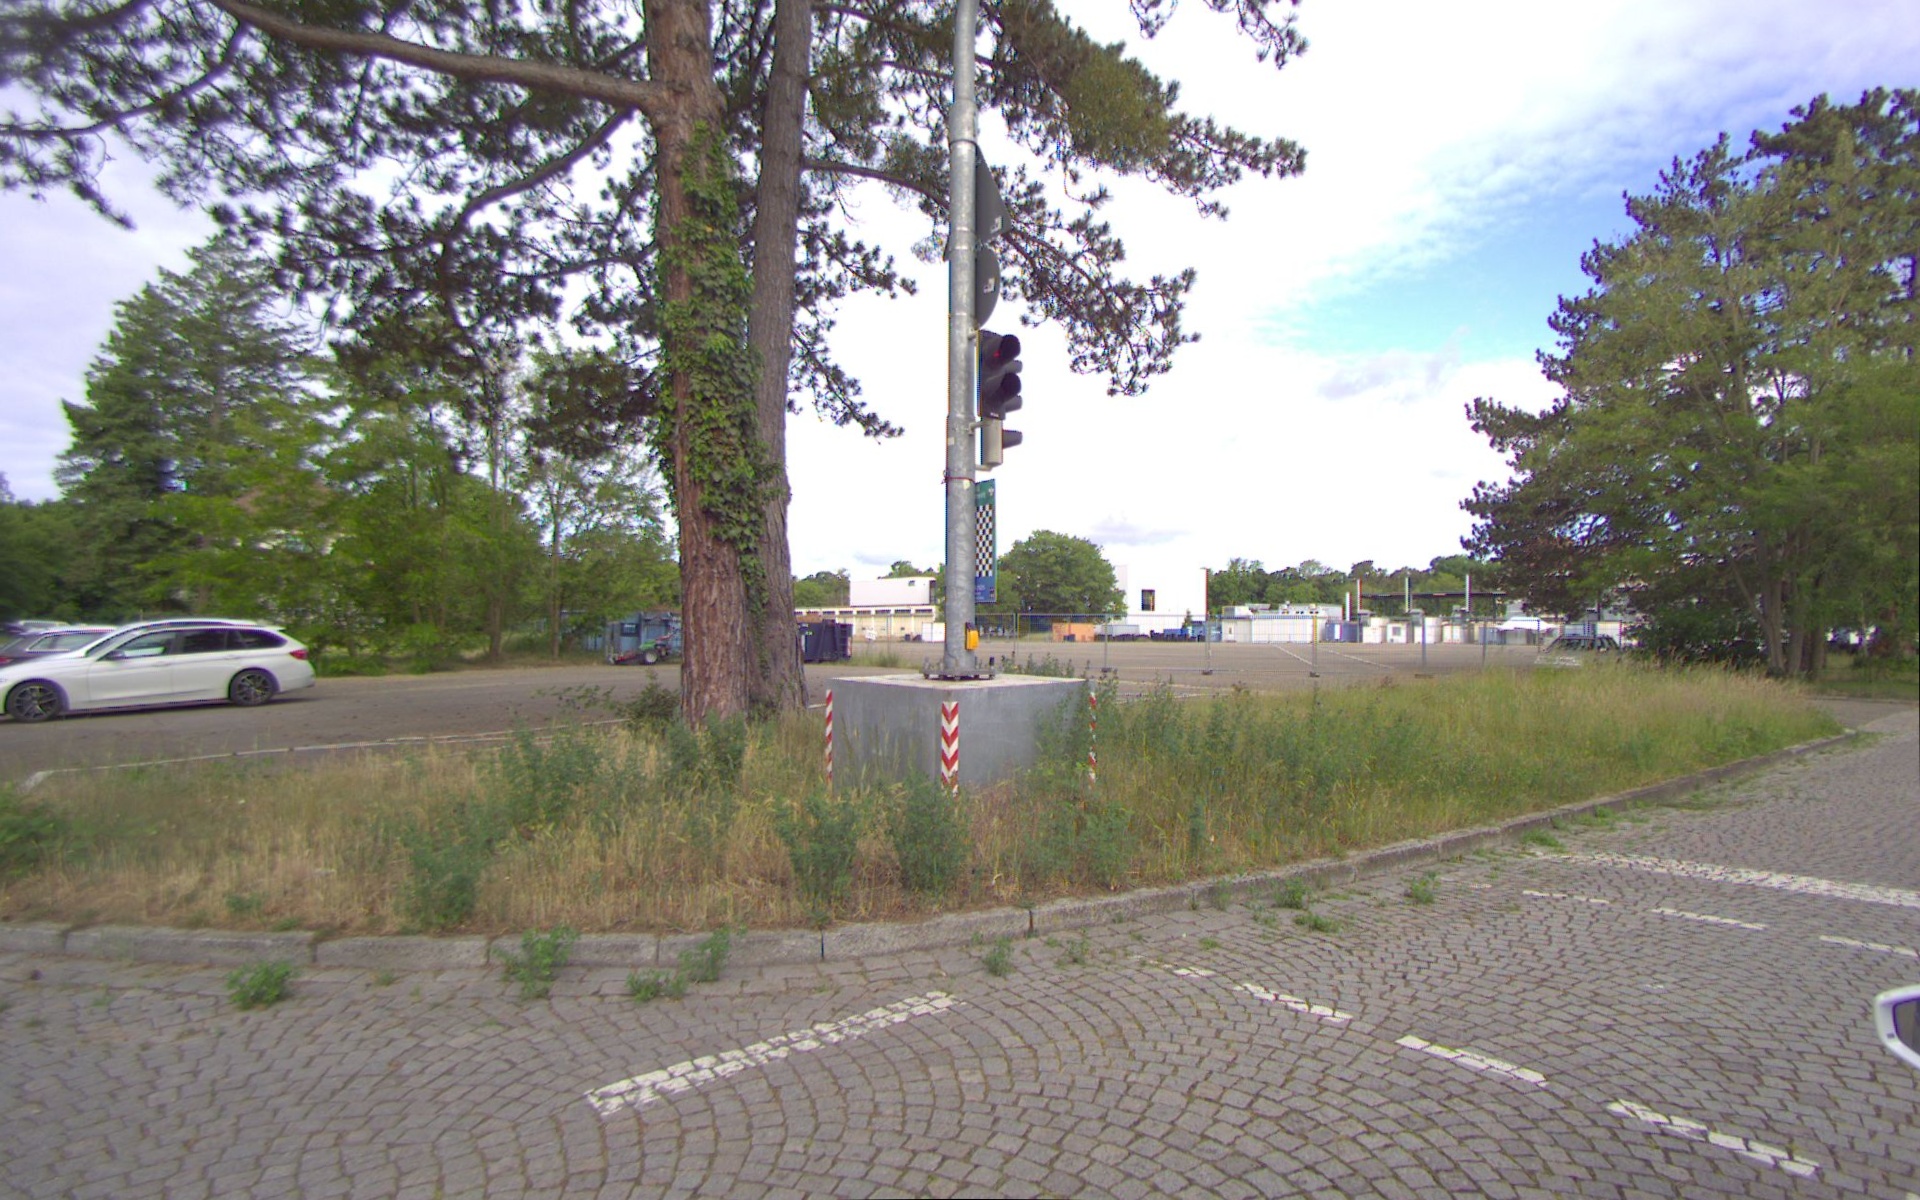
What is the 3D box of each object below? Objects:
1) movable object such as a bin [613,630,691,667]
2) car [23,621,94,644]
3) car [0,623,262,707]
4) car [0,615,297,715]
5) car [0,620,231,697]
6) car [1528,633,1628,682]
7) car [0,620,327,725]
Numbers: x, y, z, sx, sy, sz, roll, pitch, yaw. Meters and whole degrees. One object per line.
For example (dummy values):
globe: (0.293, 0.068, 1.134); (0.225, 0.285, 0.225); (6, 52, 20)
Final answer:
movable object such as a bin: (-9.916, 1.550, 32.367); (2.251, 1.140, 0.848); (3, -2, -41)
car: (-89.930, 3.263, 100.270); (5.115, 2.177, 1.753); (3, -3, -43)
car: (-17.433, 1.288, 21.075); (4.414, 1.443, 1.701); (-2, 0, -42)
car: (-15.505, 1.149, 19.284); (1.848, 1.619, 4.349); (-1, 0, 45)
car: (-19.239, 1.273, 23.013); (3.933, 1.490, 1.565); (-2, 0, -43)
car: (20.682, 1.866, 33.543); (4.129, 1.451, 1.715); (0, -1, -41)
car: (-13.873, 1.176, 17.358); (4.718, 1.508, 1.844); (-1, -1, -42)
